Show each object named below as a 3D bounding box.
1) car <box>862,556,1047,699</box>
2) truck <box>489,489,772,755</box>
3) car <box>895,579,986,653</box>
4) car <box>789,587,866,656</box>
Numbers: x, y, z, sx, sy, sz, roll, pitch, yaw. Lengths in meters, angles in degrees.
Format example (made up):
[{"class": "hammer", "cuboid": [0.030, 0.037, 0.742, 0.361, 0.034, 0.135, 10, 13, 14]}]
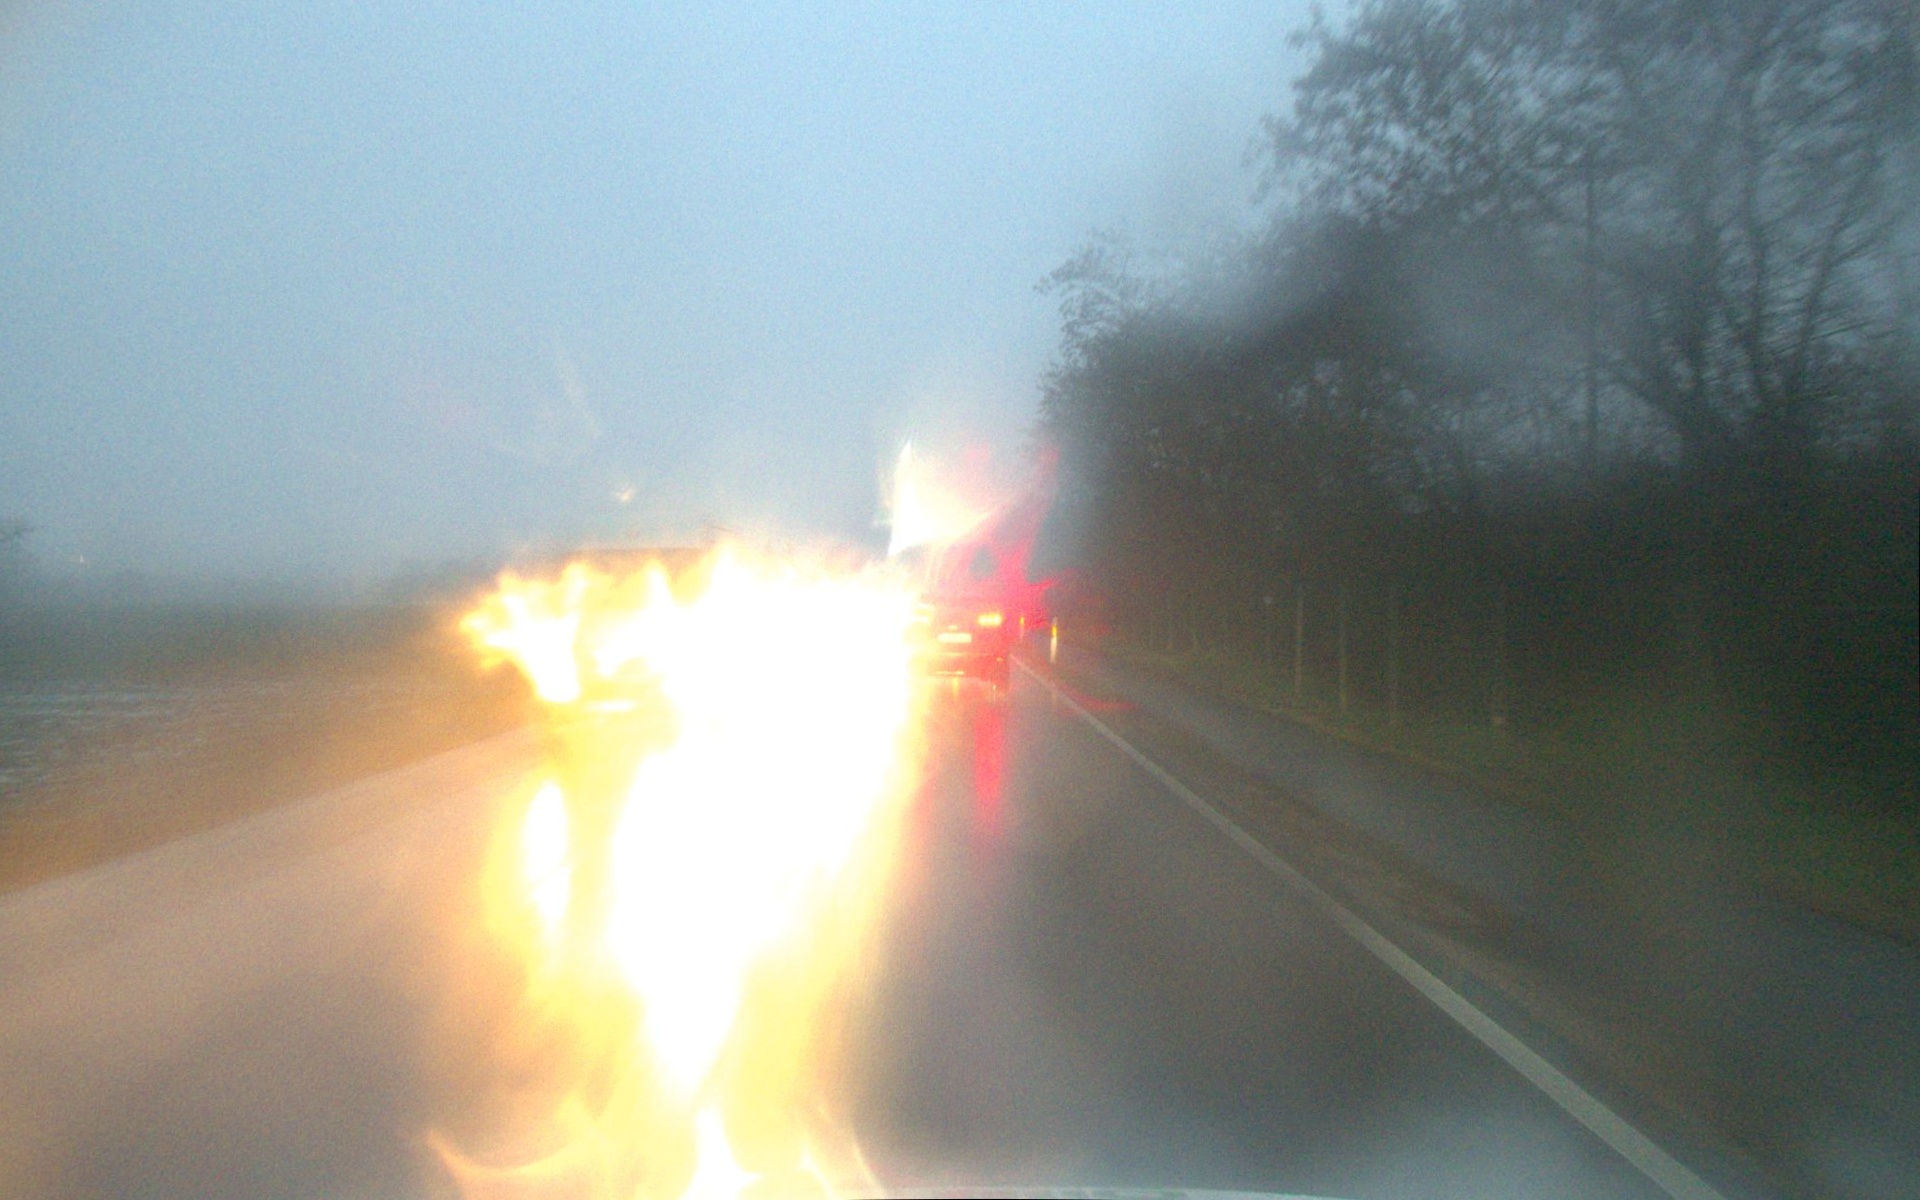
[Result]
[{"class": "car", "cuboid": [-0.092, 0.426, 28.092, 2.763, 2.113, 5.804, 1, 0, 0]}, {"class": "truck", "cuboid": [-3.852, 0.214, 20.875, 2.224, 2.680, 7.032, -3, 0, -1]}, {"class": "car", "cuboid": [-0.560, 0.461, 50.289, 2.539, 2.049, 5.804, 1, 0, 0]}, {"class": "car", "cuboid": [-3.820, 0.587, 48.151, 1.953, 1.854, 3.999, -2, 0, -2]}]
